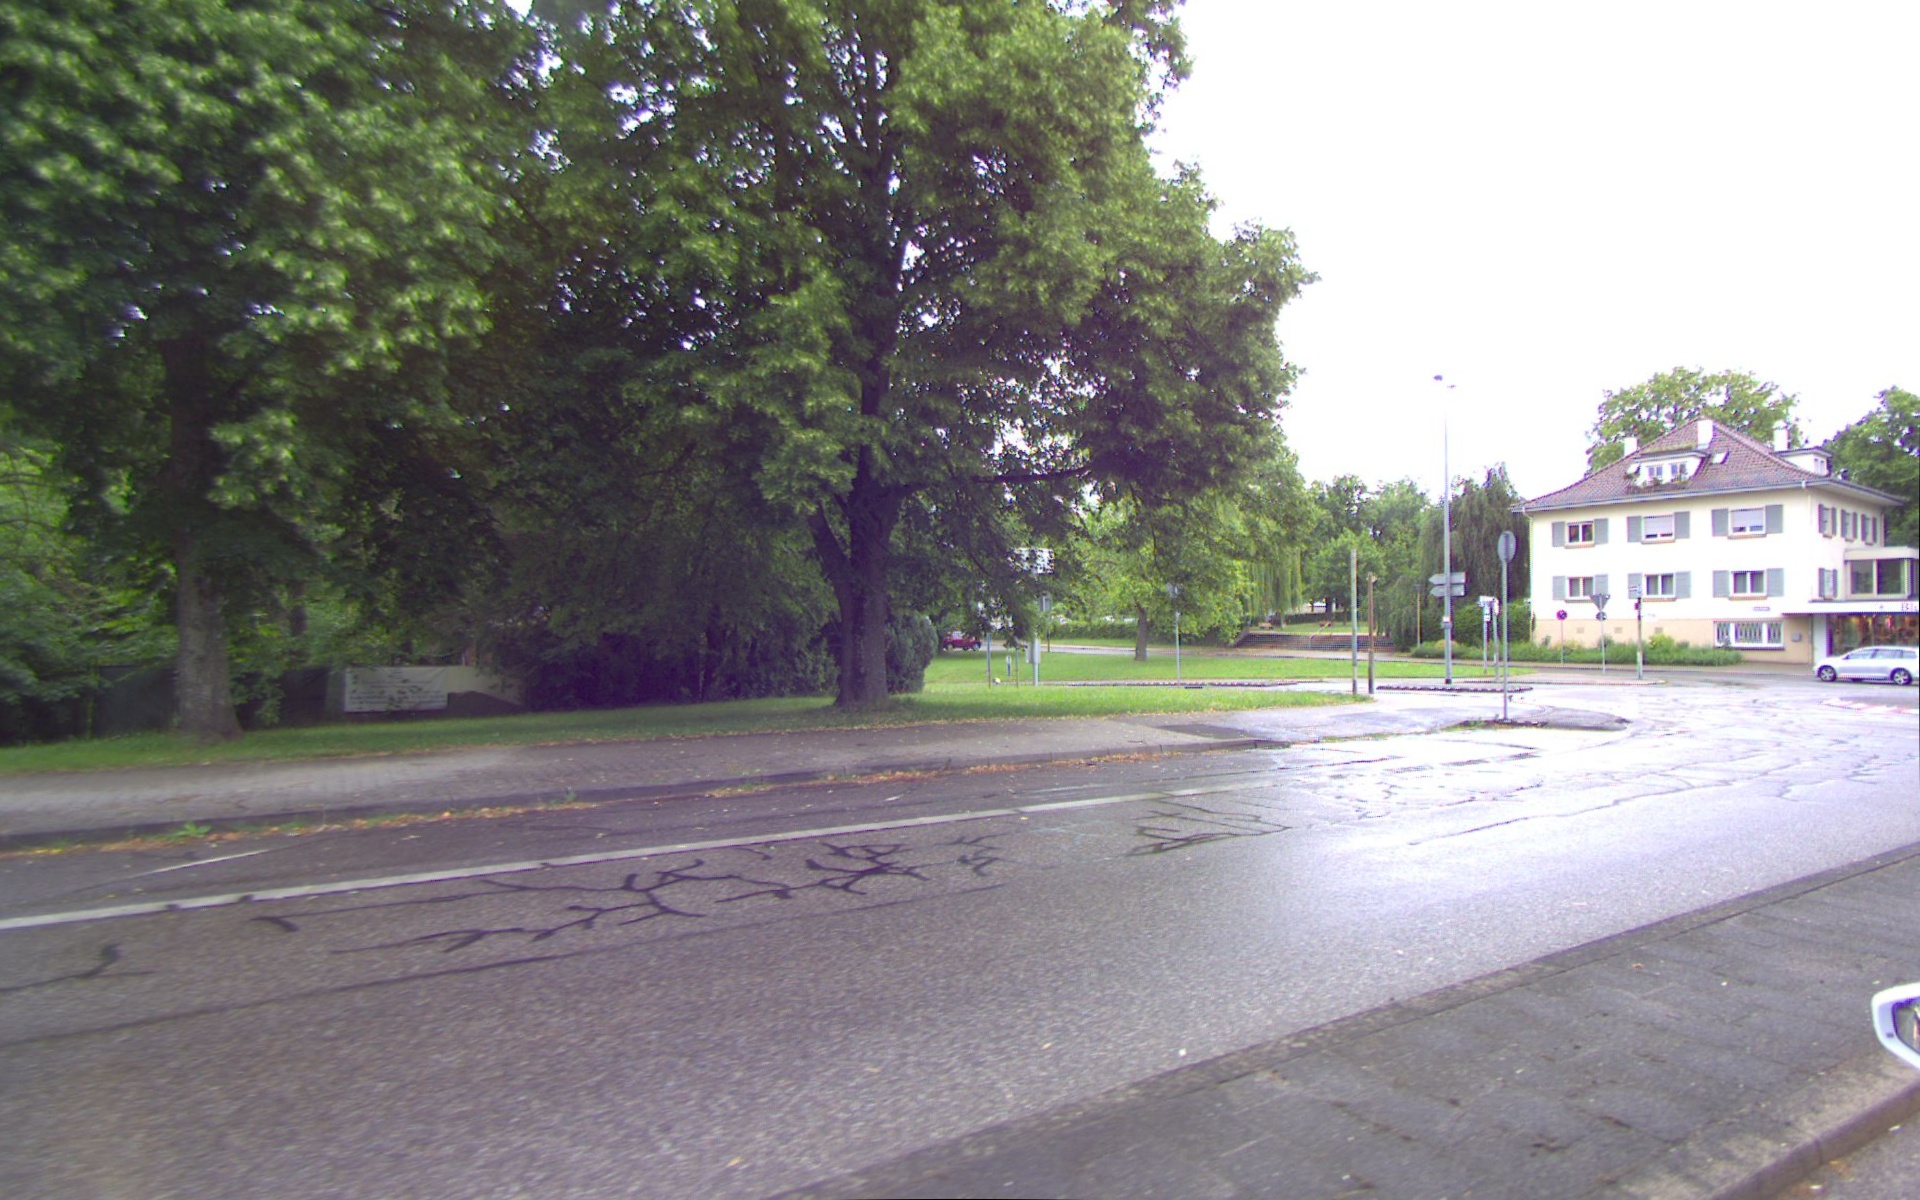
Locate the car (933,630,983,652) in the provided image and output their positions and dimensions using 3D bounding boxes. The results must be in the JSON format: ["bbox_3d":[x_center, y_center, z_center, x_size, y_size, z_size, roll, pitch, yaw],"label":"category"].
[{"bbox_3d":[-0.184,3.316,80.881,3.596,1.615,1.790,2,-1,-32],"label":"car"}]

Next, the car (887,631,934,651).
[{"bbox_3d":[-4.299,3.542,87.130,3.596,1.615,1.790,2,-1,-32],"label":"car"}]

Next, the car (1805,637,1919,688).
[{"bbox_3d":[36.012,2.429,39.333,1.966,1.764,4.132,2,-1,-14],"label":"car"}]
